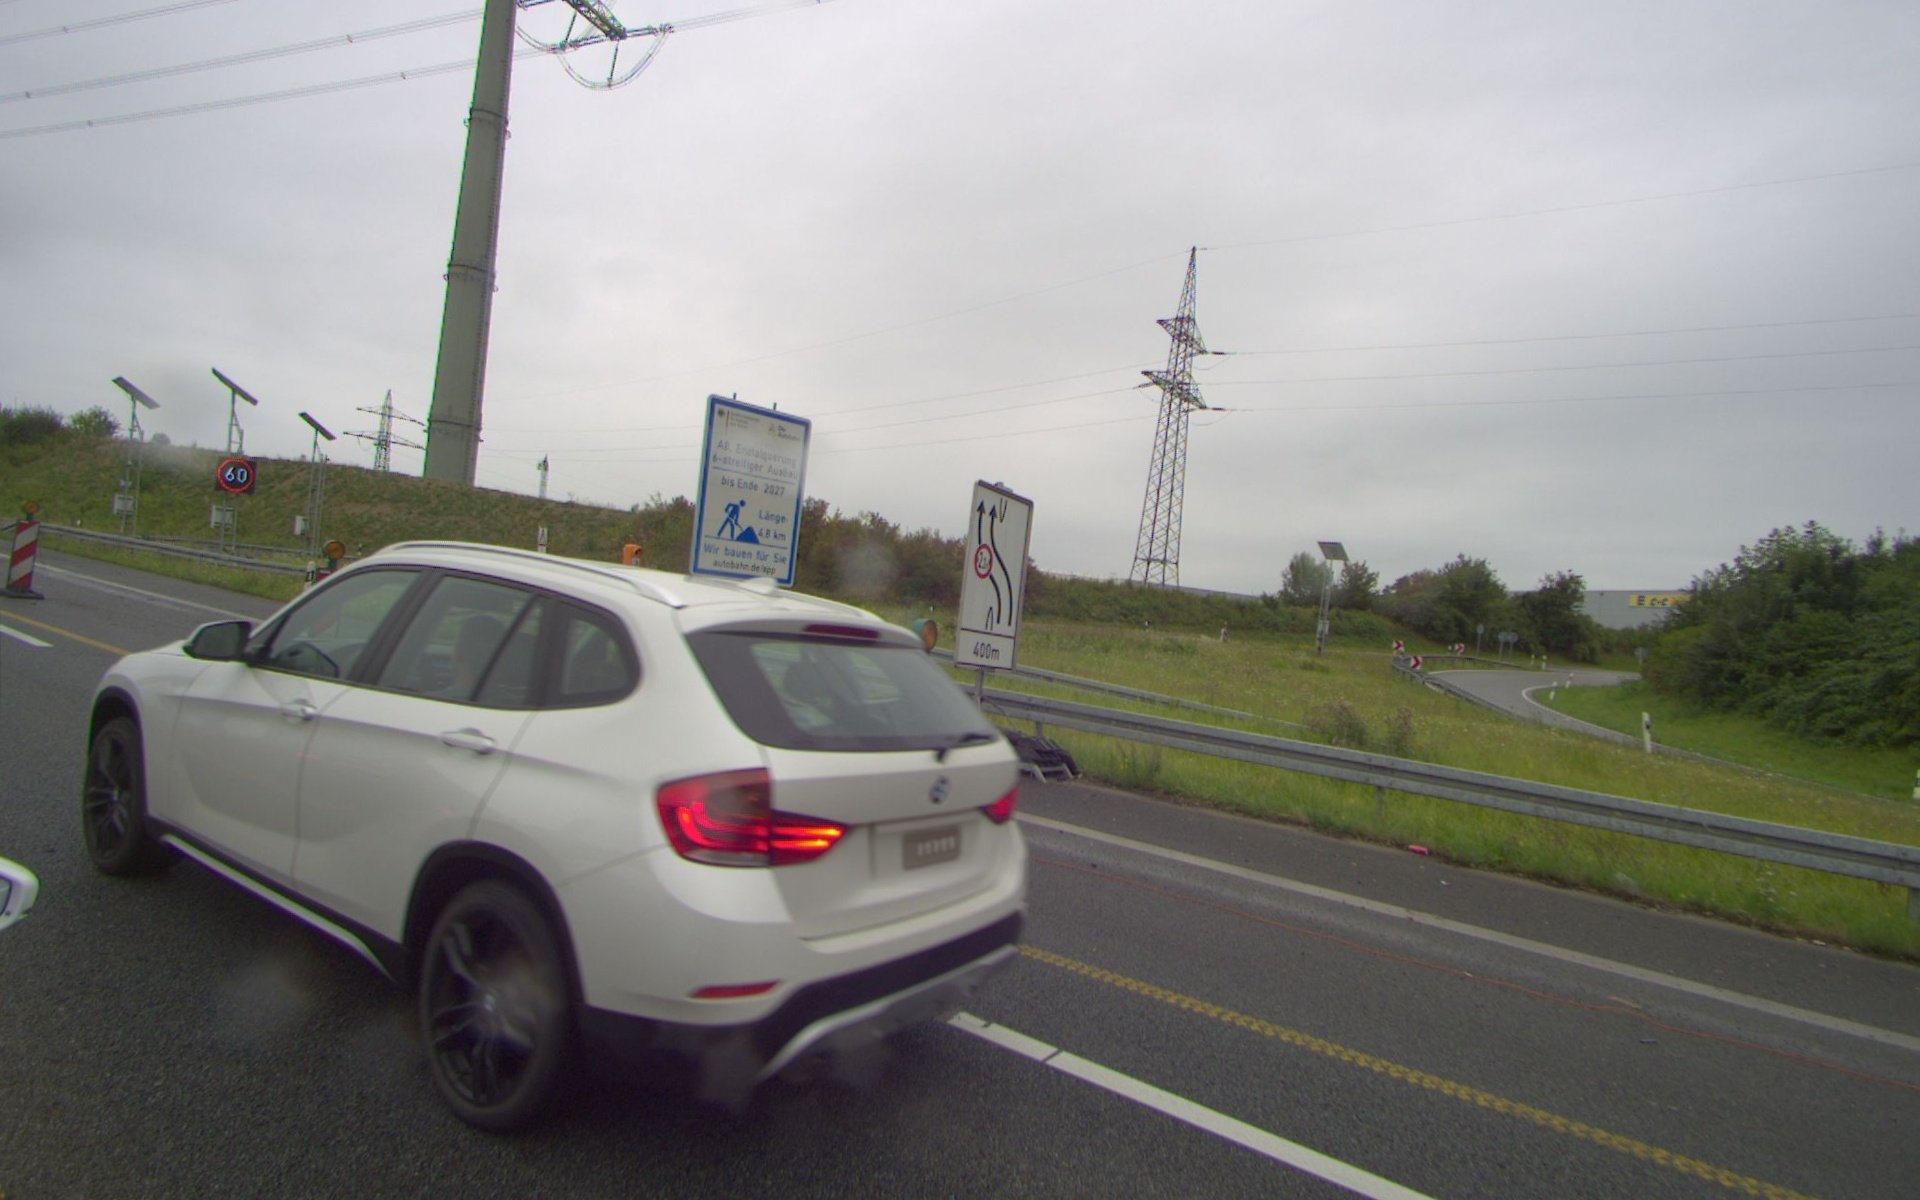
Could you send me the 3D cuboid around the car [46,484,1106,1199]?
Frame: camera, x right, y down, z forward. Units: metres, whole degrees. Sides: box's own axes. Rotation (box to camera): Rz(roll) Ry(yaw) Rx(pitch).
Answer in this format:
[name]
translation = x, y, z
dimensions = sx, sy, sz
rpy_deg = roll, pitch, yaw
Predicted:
[car]
translation = -1.758, 0.534, 4.091
dimensions = 4.129, 1.553, 1.872
rpy_deg = 7, -1, 34
